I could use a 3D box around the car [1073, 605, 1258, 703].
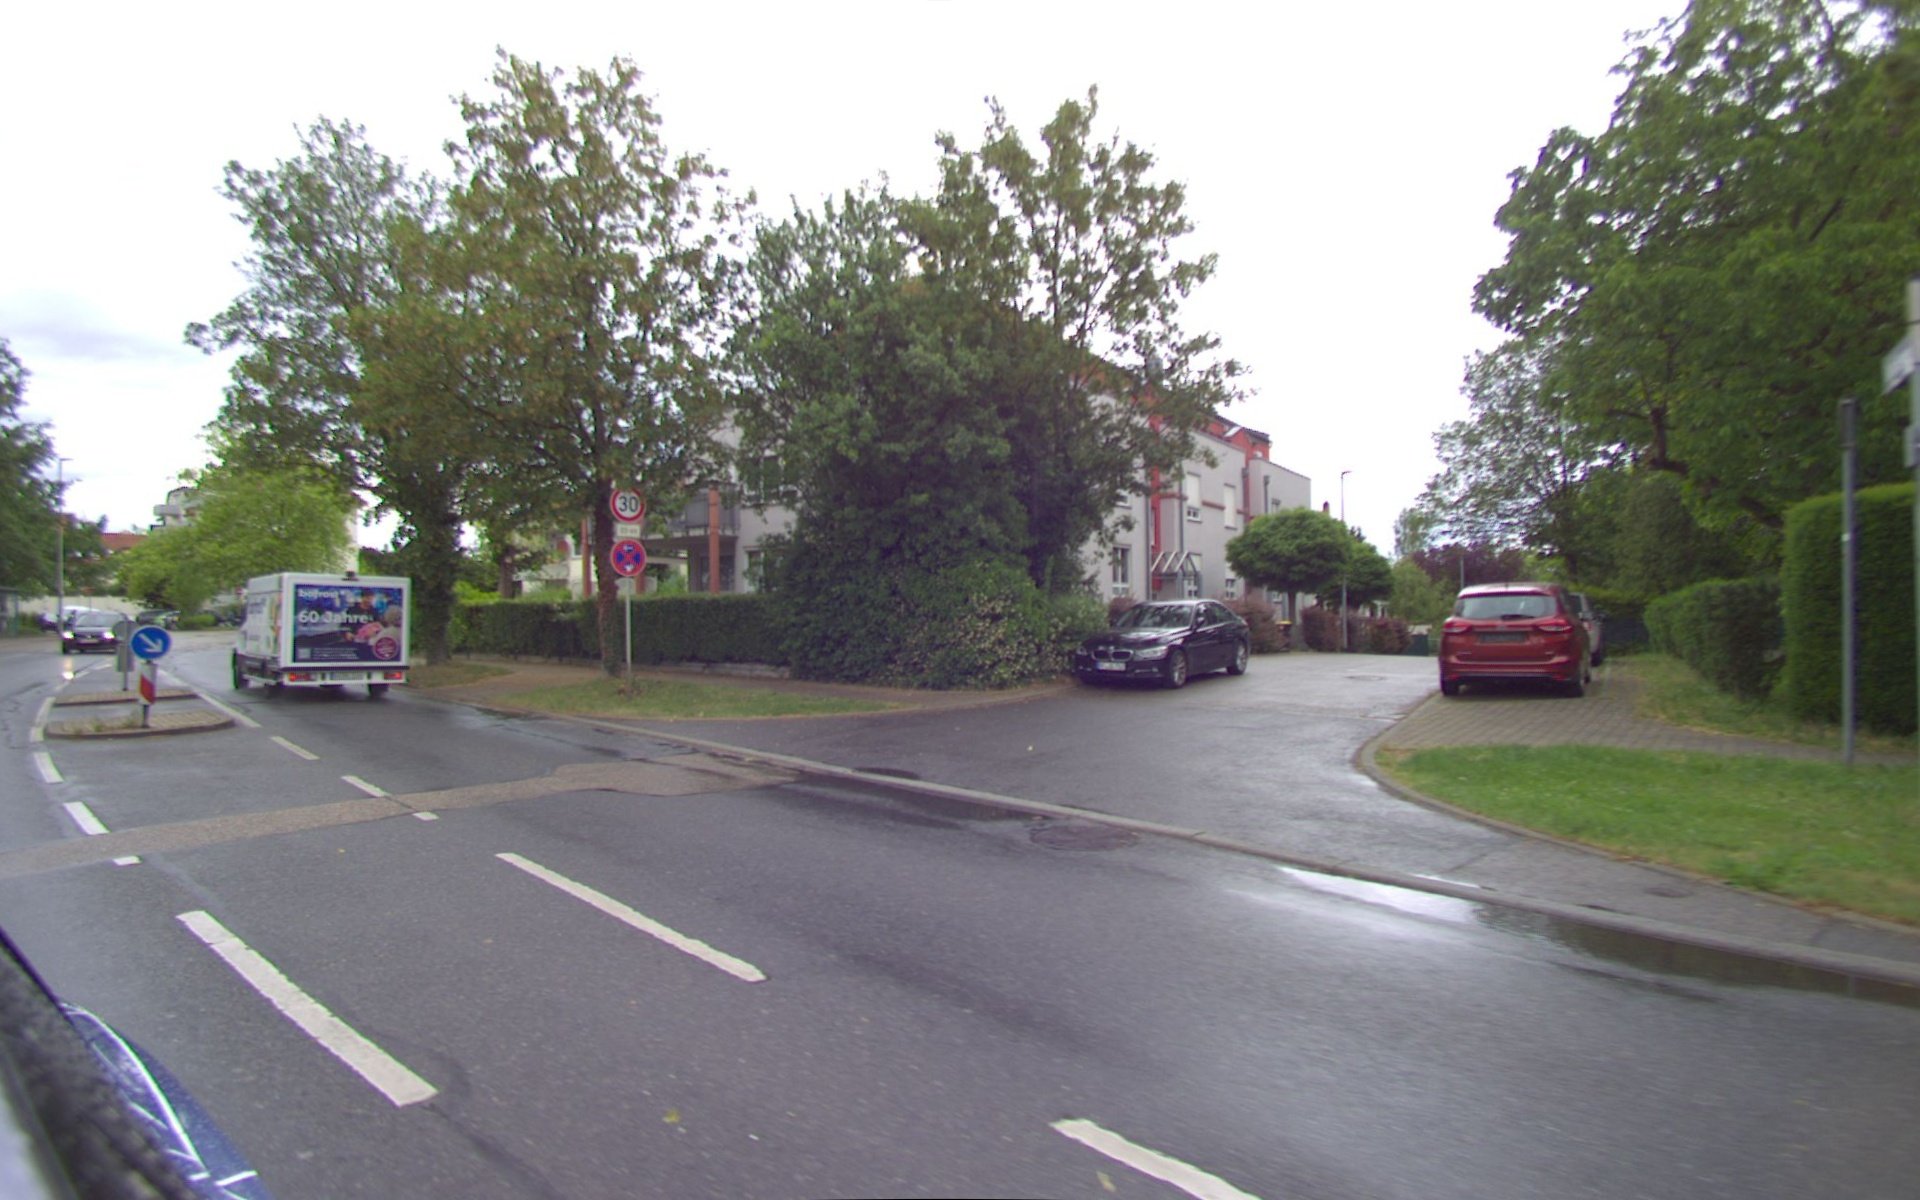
[{"bbox_3d":[3.709,0.851,17.775,1.690,1.485,3.980,-1,0,36],"label":"car"}]

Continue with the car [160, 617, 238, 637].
[{"bbox_3d":[-59.026,2.083,78.579,4.508,1.454,1.770,0,-1,-20],"label":"car"}]

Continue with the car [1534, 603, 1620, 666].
[{"bbox_3d":[15.511,0.816,25.416,1.688,1.425,3.984,-2,-1,33],"label":"car"}]

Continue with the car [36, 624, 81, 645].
[{"bbox_3d":[-62.322,2.359,69.925,4.183,1.393,1.742,-1,-1,40],"label":"car"}]

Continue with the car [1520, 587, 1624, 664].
[{"bbox_3d":[12.775,0.489,21.080,1.688,1.425,3.984,-2,-1,33],"label":"car"}]

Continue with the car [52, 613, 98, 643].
[{"bbox_3d":[-58.134,1.831,66.435,4.214,1.895,1.971,-1,-1,45],"label":"car"}]

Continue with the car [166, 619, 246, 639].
[{"bbox_3d":[-57.065,2.167,76.659,4.508,1.454,1.770,0,-1,-20],"label":"car"}]

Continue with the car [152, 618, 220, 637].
[{"bbox_3d":[-61.630,2.192,80.611,3.953,1.454,1.770,0,-1,-20],"label":"car"}]

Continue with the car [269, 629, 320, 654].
[{"bbox_3d":[-46.180,2.838,70.332,1.811,1.562,4.012,-1,0,-16],"label":"car"}]

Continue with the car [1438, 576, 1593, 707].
[{"bbox_3d":[8.427,0.545,15.184,1.688,1.664,3.984,-5,-1,33],"label":"car"}]

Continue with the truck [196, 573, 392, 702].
[{"bbox_3d":[-13.625,0.757,20.464,2.191,2.220,6.469,2,-3,-43],"label":"truck"}]

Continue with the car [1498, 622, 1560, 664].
[{"bbox_3d":[21.150,1.647,37.551,1.688,1.425,3.983,-4,-5,33],"label":"car"}]

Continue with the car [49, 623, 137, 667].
[{"bbox_3d":[-31.958,1.608,37.417,1.810,1.460,4.012,-1,0,-31],"label":"car"}]

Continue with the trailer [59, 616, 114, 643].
[{"bbox_3d":[-53.733,1.798,62.260,4.424,1.554,1.973,-1,-1,41],"label":"trailer"}]
